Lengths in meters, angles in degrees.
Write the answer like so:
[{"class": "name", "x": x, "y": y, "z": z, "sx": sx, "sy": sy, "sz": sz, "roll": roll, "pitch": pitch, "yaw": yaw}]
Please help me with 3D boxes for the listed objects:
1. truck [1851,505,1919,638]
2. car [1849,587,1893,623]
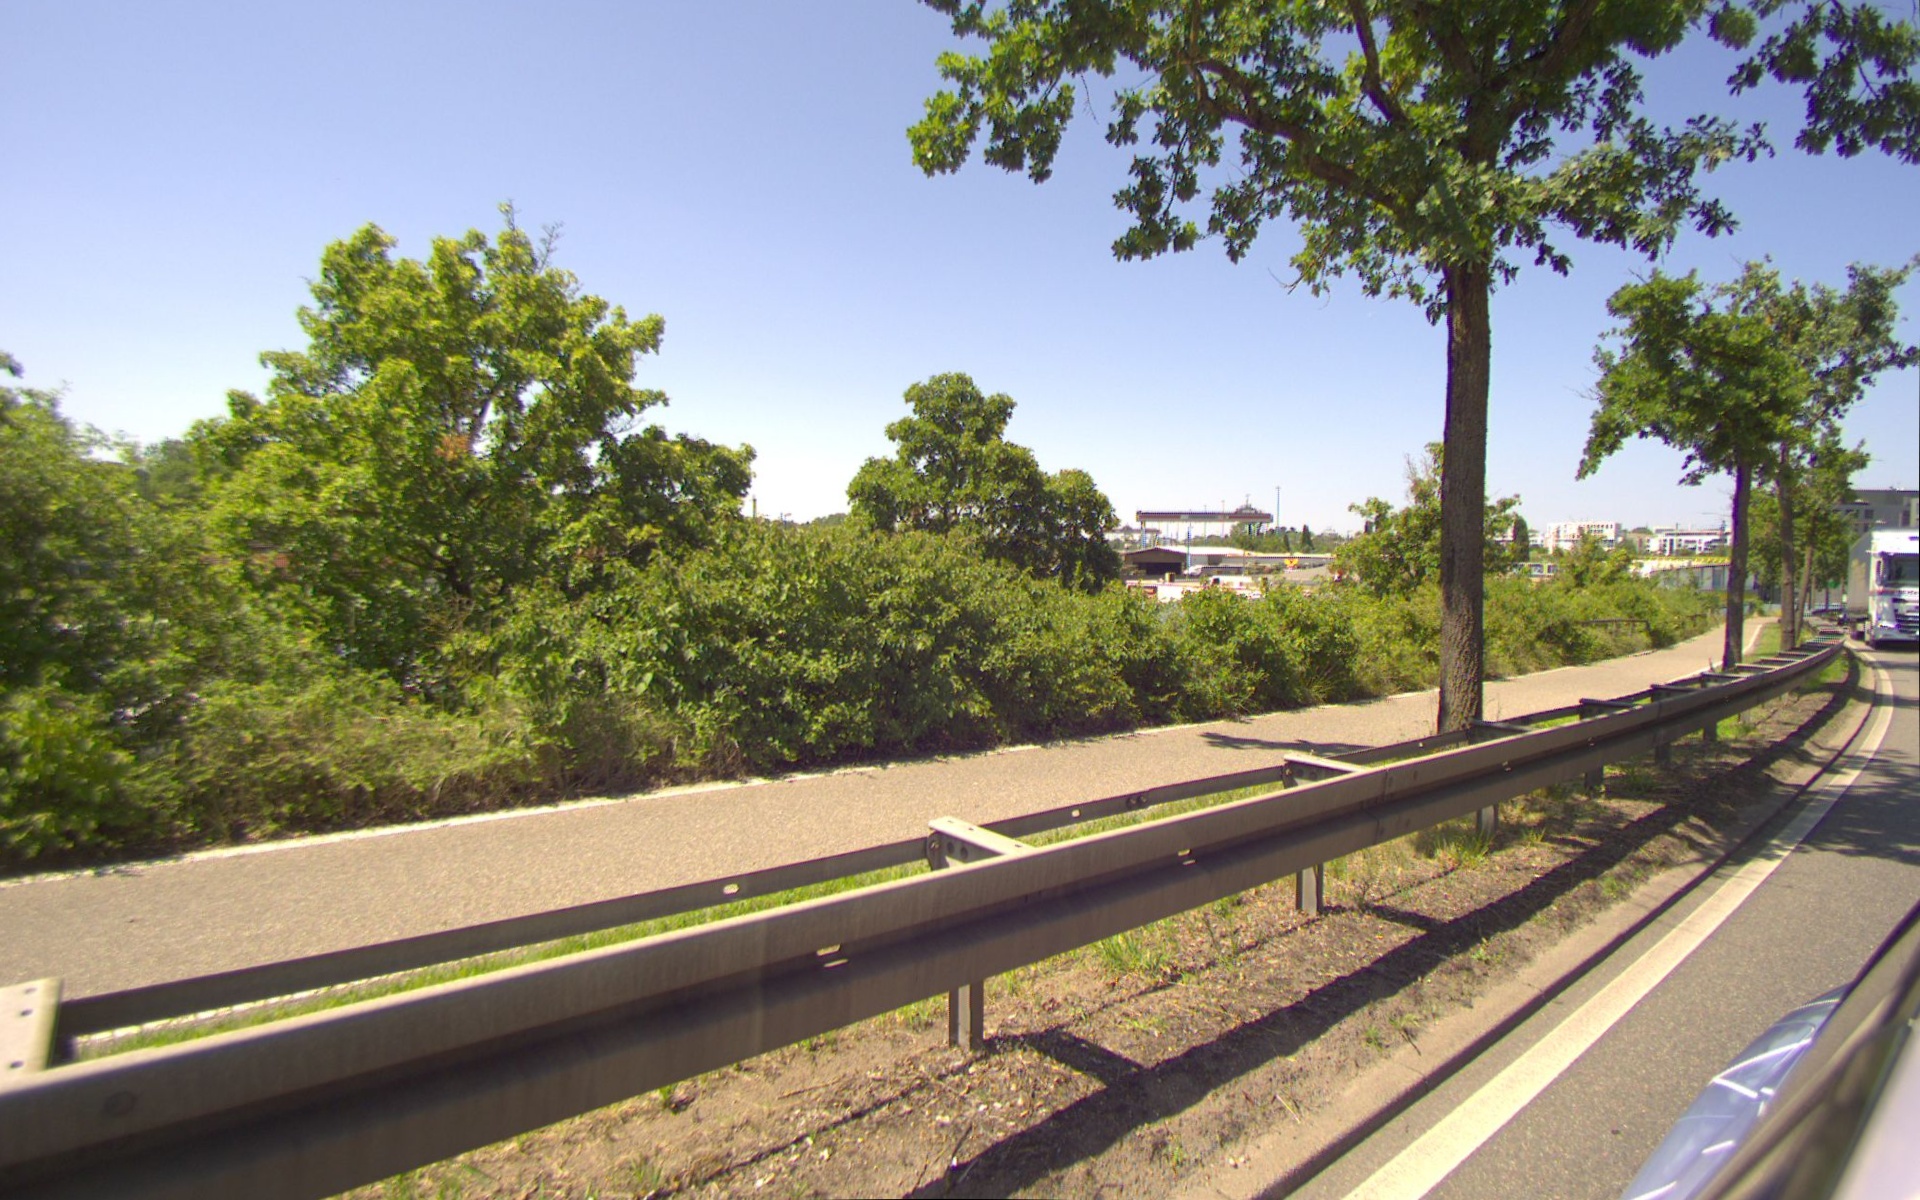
[{"class": "truck", "x": 36.250, "y": -0.951, "z": 38.322, "sx": 3.057, "sy": 4.223, "sz": 16.672, "roll": 0, "pitch": 0, "yaw": 39}, {"class": "car", "x": 53.351, "y": 0.265, "z": 59.328, "sx": 1.773, "sy": 2.039, "sz": 3.941, "roll": 0, "pitch": 0, "yaw": 40}]
